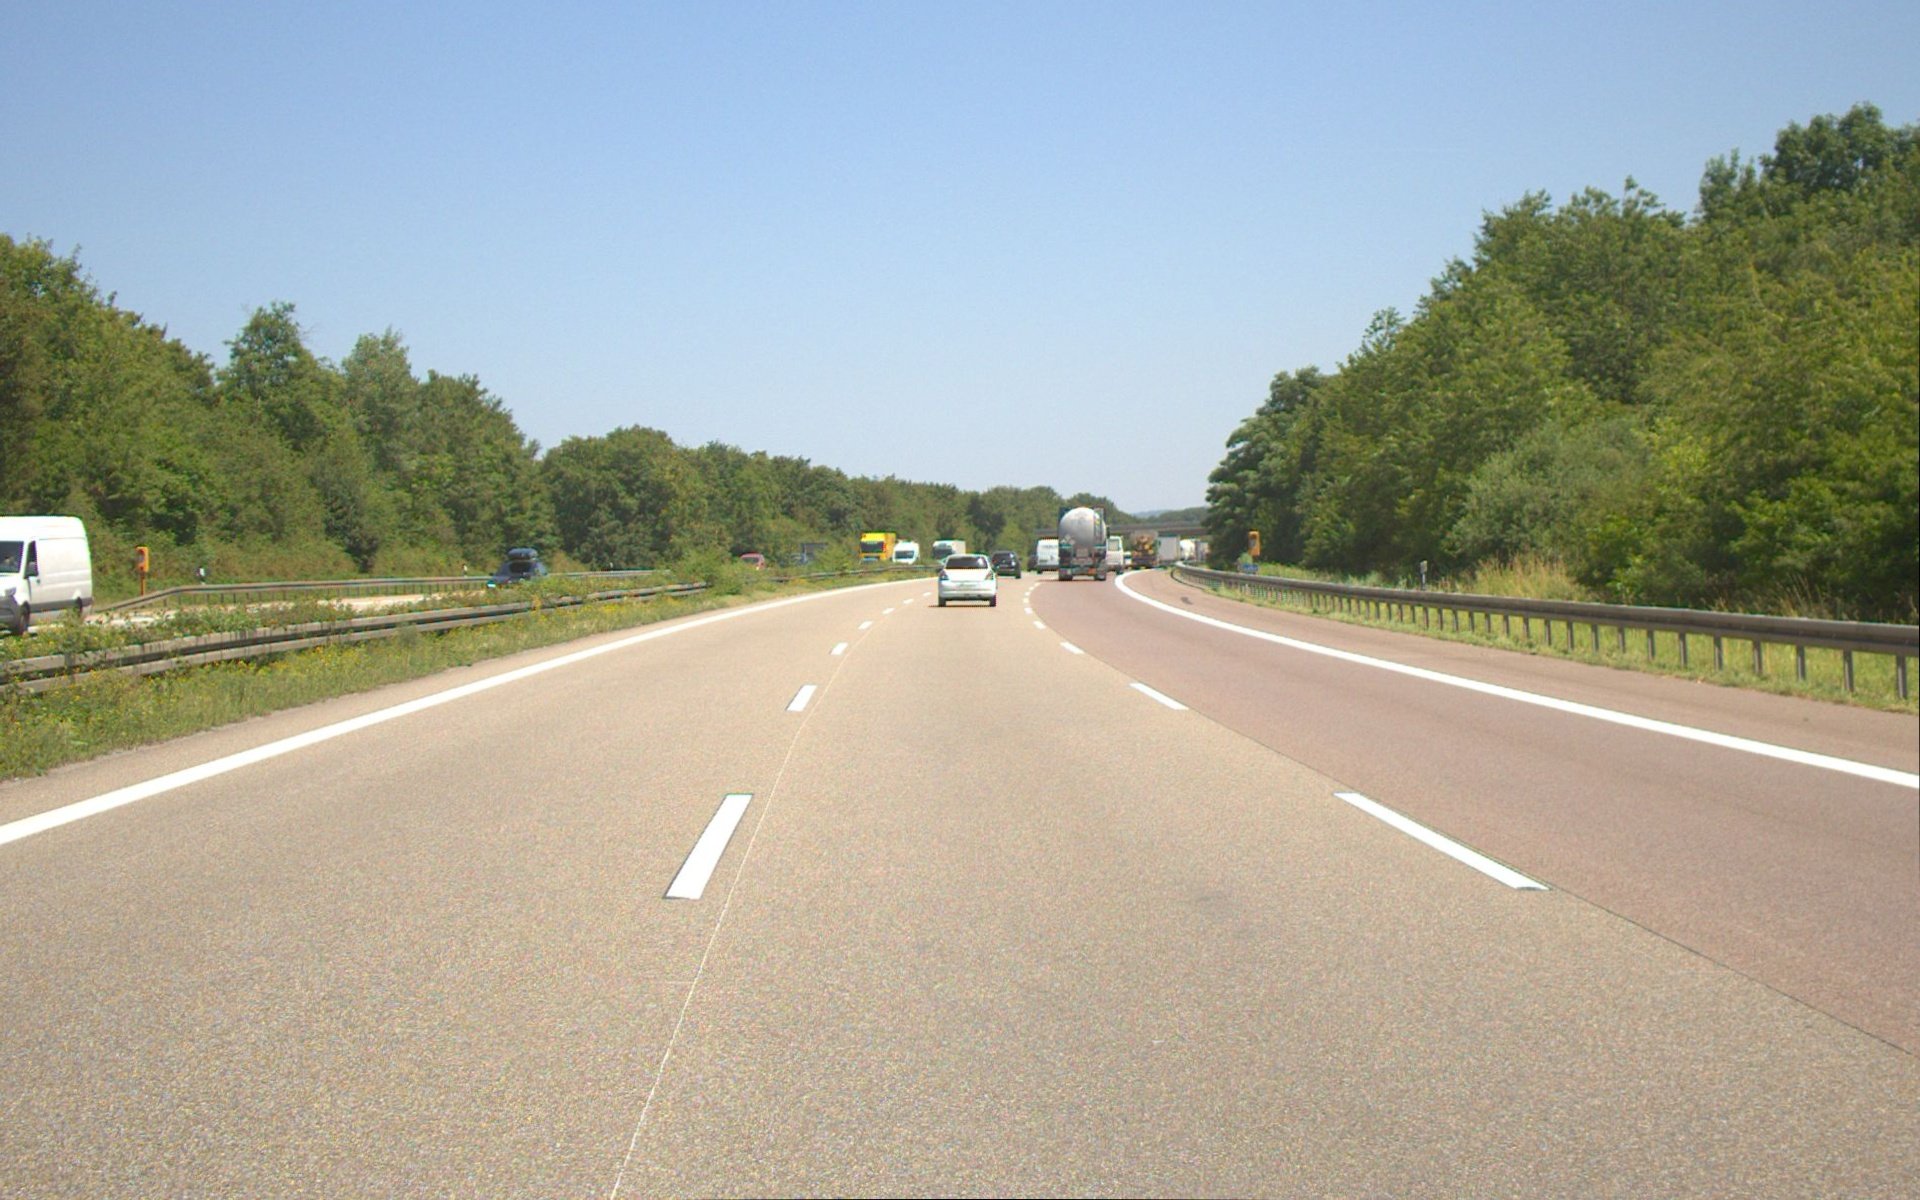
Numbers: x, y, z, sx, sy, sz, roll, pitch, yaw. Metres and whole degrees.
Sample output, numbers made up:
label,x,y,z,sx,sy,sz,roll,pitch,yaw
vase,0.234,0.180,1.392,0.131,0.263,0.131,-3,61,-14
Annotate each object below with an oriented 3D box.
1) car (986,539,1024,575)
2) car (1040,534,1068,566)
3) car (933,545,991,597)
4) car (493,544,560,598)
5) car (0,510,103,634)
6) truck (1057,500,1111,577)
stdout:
label,x,y,z,sx,sy,sz,roll,pitch,yaw
car,2.677,-2.543,202.664,1.994,2.007,4.000,-2,1,3
car,6.942,-3.692,253.836,1.994,2.335,4.387,-1,1,3
car,0.047,-0.840,100.393,1.627,1.474,4.000,-1,1,0
car,-15.641,-1.054,124.221,1.826,1.899,4.957,-1,1,-1
car,-20.741,-0.613,74.981,2.228,2.568,7.392,-2,1,0
truck,6.730,-3.283,185.940,2.739,4.038,10.454,-1,0,2
